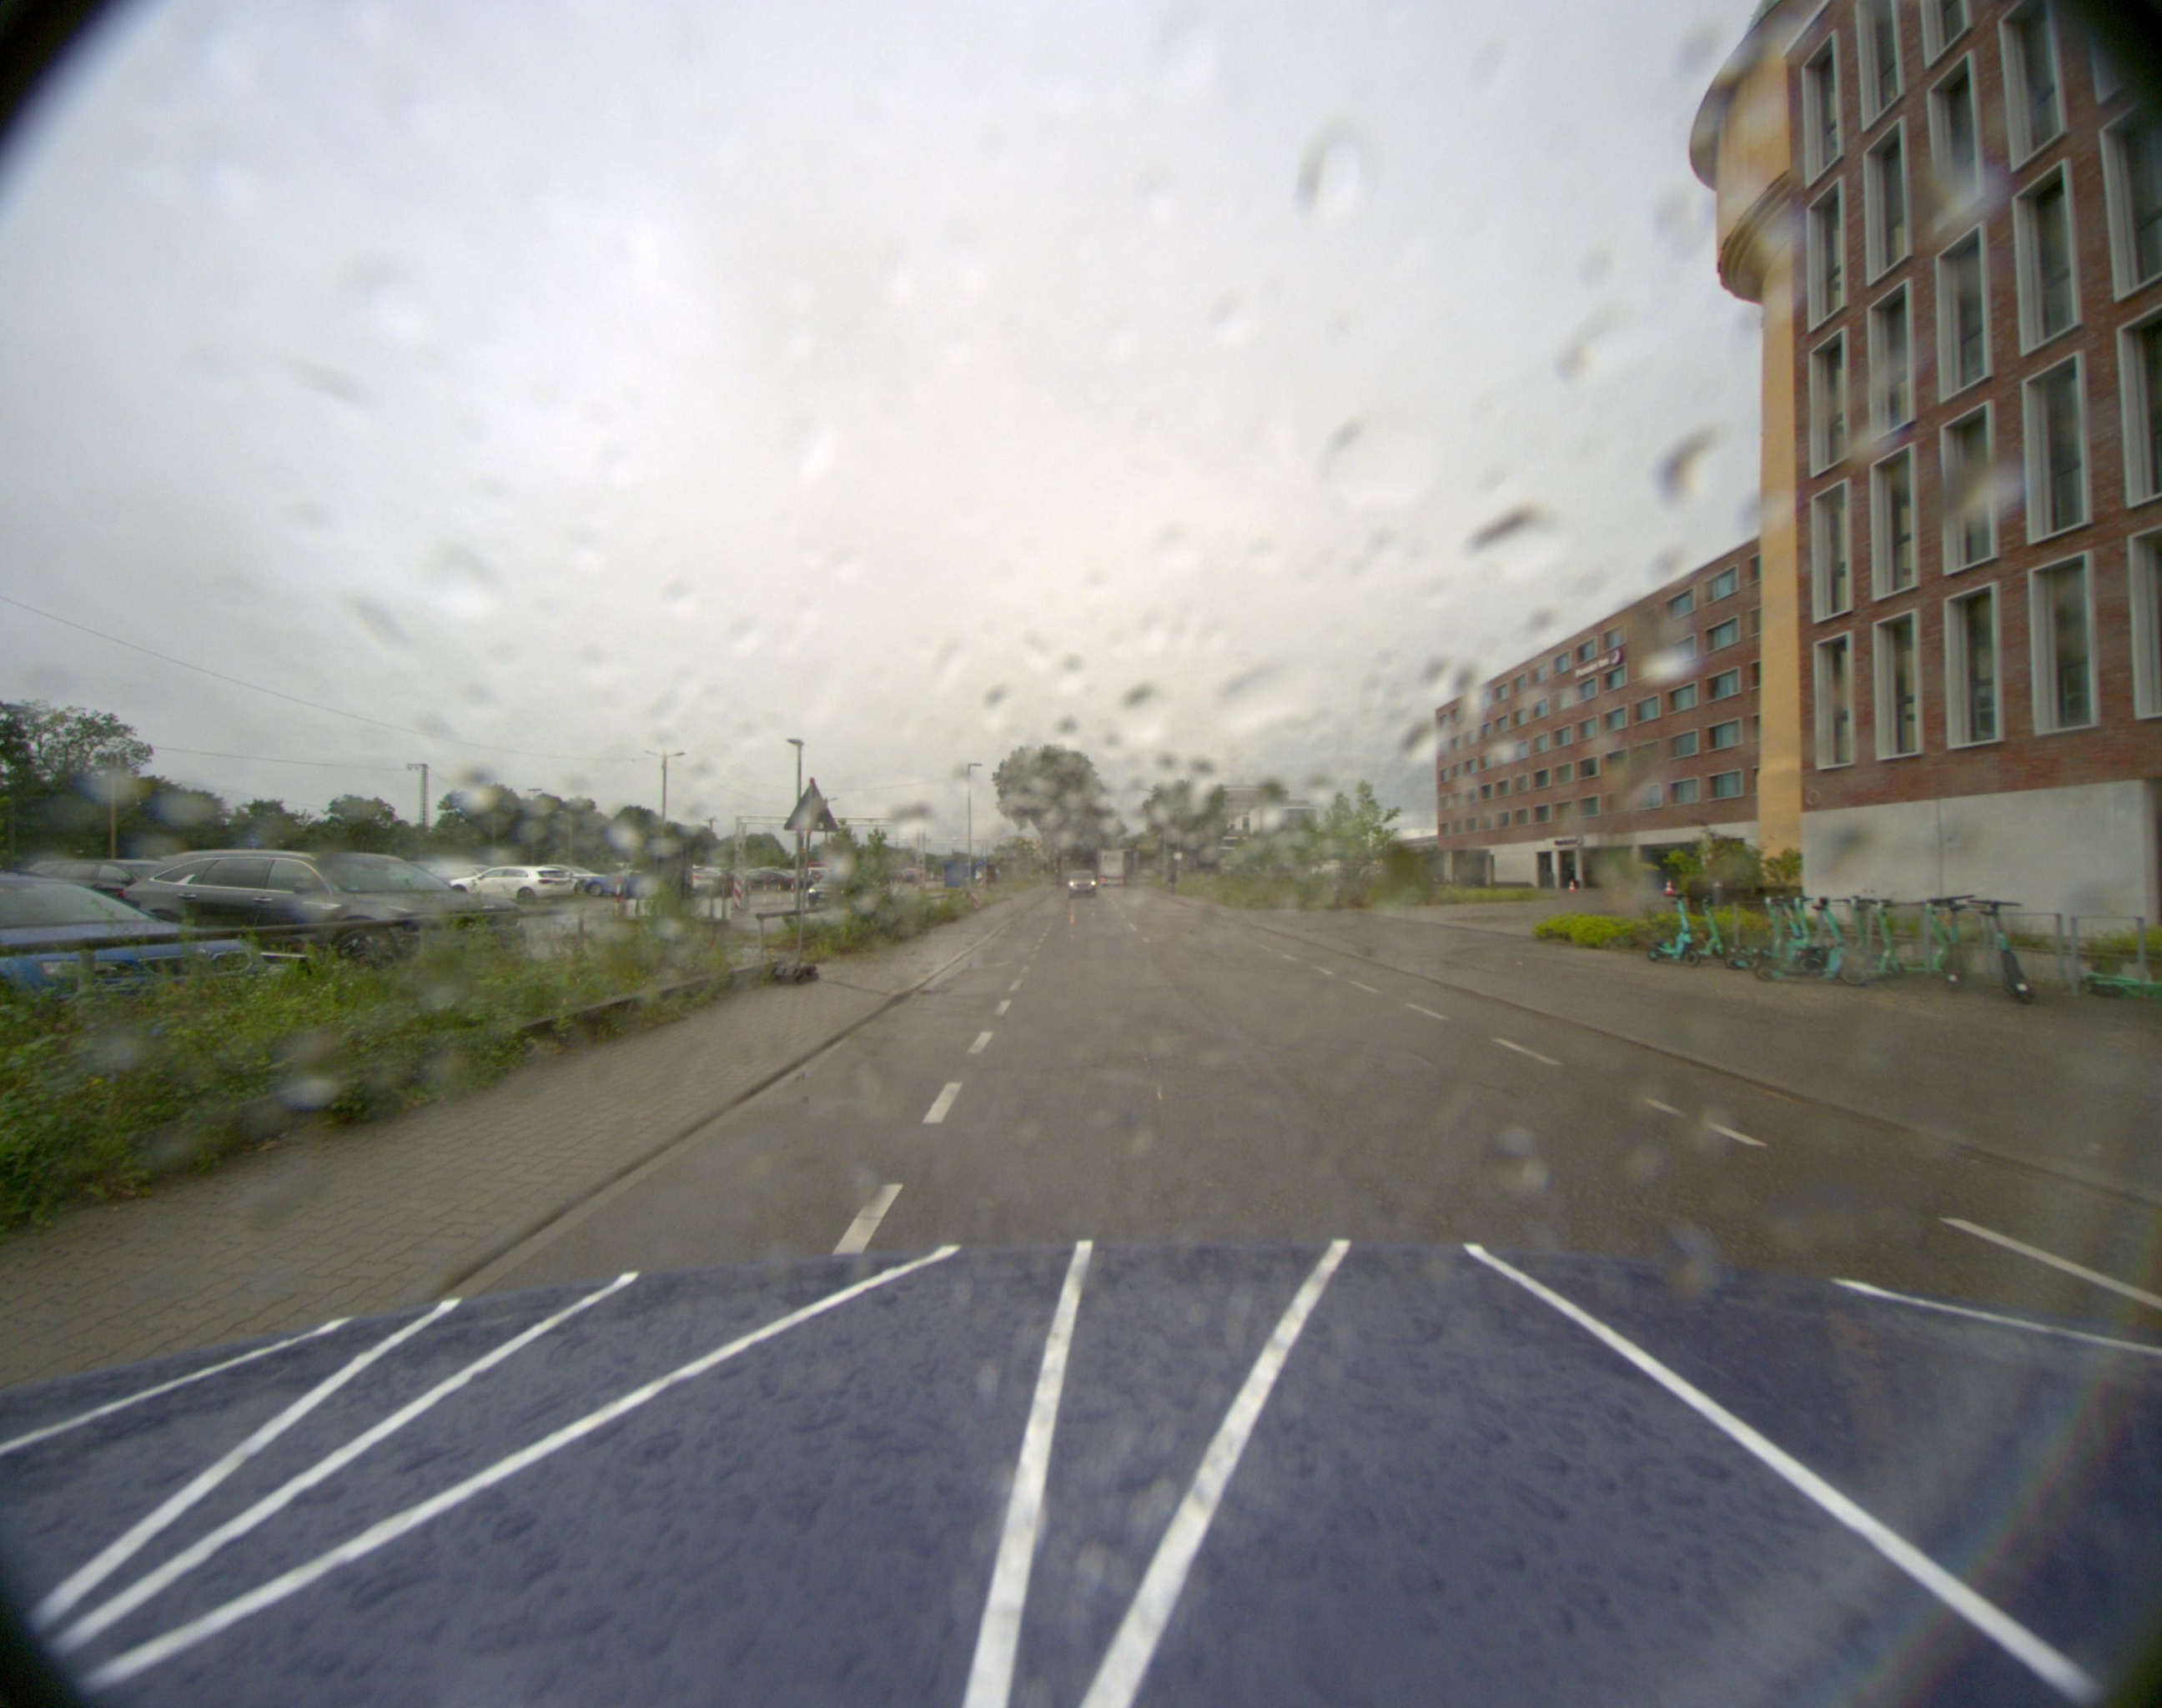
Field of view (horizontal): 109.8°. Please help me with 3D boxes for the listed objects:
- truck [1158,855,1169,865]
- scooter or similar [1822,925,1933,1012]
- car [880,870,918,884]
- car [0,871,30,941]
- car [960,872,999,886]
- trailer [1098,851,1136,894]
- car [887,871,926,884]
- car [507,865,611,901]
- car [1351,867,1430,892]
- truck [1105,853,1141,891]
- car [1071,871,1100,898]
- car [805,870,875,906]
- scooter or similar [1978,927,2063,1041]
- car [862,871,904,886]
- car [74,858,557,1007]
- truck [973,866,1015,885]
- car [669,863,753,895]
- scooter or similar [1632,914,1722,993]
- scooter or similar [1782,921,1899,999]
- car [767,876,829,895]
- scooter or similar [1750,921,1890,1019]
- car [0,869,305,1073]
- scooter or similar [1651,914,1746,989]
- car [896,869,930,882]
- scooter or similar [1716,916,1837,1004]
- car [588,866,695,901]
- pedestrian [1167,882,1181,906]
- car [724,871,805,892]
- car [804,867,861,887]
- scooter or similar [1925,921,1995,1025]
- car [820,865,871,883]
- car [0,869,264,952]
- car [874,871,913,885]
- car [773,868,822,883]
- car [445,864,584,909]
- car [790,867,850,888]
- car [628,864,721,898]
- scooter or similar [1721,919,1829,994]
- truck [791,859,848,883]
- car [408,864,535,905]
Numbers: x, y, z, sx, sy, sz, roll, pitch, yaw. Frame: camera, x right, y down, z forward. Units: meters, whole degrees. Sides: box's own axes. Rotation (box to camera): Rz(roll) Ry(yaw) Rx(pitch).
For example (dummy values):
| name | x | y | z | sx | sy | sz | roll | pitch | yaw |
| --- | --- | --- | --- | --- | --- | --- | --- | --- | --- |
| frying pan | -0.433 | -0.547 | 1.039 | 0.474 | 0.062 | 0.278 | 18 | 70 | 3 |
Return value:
| name | x | y | z | sx | sy | sz | roll | pitch | yaw |
| --- | --- | --- | --- | --- | --- | --- | --- | --- | --- |
| truck | 22.762 | 1.641 | 208.962 | 2.090 | 2.603 | 6.978 | 1 | -1 | -1 |
| scooter or similar | 11.416 | 1.621 | 10.902 | 1.321 | 1.170 | 0.467 | 1 | -1 | -11 |
| car | -21.256 | 2.677 | 88.978 | 3.961 | 1.419 | 1.822 | 2 | 0 | 2 |
| car | -27.538 | 1.120 | 17.157 | 4.714 | 1.596 | 2.044 | 2 | 0 | 0 |
| car | -10.361 | 2.529 | 78.033 | 3.781 | 1.385 | 1.905 | 0 | 0 | -2 |
| trailer | 4.356 | 2.148 | 88.227 | 3.300 | 4.625 | 13.744 | 0 | -1 | 7 |
| car | -21.060 | 2.831 | 91.765 | 4.075 | 1.481 | 1.926 | 2 | 0 | 2 |
| car | -27.118 | 1.499 | 39.586 | 4.071 | 1.649 | 1.832 | 2 | 0 | -1 |
| car | 20.733 | 1.725 | 51.012 | 4.533 | 1.631 | 2.000 | 0 | -1 | -2 |
| truck | 5.303 | 2.299 | 95.148 | 3.298 | 4.625 | 6.042 | 0 | -1 | 16 |
| car | 0.271 | 2.093 | 51.547 | 1.838 | 1.713 | 4.174 | 2 | -3 | 0 |
| car | -10.656 | 1.495 | 33.920 | 1.900 | 1.447 | 4.227 | 1 | -2 | -2 |
| scooter or similar | 11.227 | 1.514 | 9.107 | 0.466 | 1.200 | 1.211 | 0 | -2 | 43 |
| car | -21.012 | 2.602 | 80.742 | 3.961 | 1.419 | 1.887 | 2 | 0 | 2 |
| car | -10.227 | 0.958 | 10.424 | 4.691 | 1.725 | 2.129 | 1 | 0 | 5 |
| truck | -10.902 | 2.670 | 95.503 | 5.046 | 2.388 | 2.110 | 0 | -1 | -2 |
| car | -20.687 | 1.405 | 42.582 | 3.783 | 1.574 | 1.787 | 3 | 0 | 3 |
| scooter or similar | 10.195 | 1.677 | 13.051 | 0.467 | 1.222 | 1.321 | 1 | -2 | -3 |
| scooter or similar | 12.159 | 1.685 | 12.186 | 1.319 | 1.170 | 0.468 | 1 | -1 | 6 |
| car | -20.835 | 2.331 | 55.996 | 3.896 | 1.214 | 1.648 | 2 | 0 | 5 |
| scooter or similar | 10.224 | 1.574 | 10.557 | 1.317 | 1.222 | 0.468 | 0 | -2 | 30 |
| car | -9.832 | 0.908 | 6.621 | 4.306 | 1.508 | 1.820 | 0 | 0 | 1 |
| scooter or similar | 11.118 | 1.729 | 13.720 | 1.317 | 1.222 | 0.509 | 0 | -2 | 39 |
| car | -21.533 | 2.735 | 97.391 | 3.961 | 1.528 | 1.807 | 2 | 0 | 2 |
| scooter or similar | 10.862 | 1.624 | 11.903 | 0.468 | 1.222 | 1.318 | 2 | -2 | -28 |
| car | -21.294 | 1.401 | 36.939 | 4.054 | 1.475 | 1.928 | 3 | 0 | 3 |
| pedestrian | 6.923 | 2.953 | 56.320 | 0.911 | 1.707 | 1.027 | 0 | -1 | 1 |
| car | -21.253 | 1.814 | 51.145 | 4.599 | 1.214 | 1.978 | 2 | 0 | -1 |
| car | -20.092 | 1.839 | 61.560 | 3.961 | 1.481 | 1.870 | 2 | 0 | 2 |
| scooter or similar | 11.542 | 1.527 | 10.000 | 0.466 | 1.222 | 1.211 | 0 | -2 | 43 |
| car | -21.164 | 1.781 | 68.461 | 3.961 | 1.481 | 1.778 | 2 | 0 | 2 |
| car | -22.001 | 1.231 | 17.176 | 4.633 | 1.706 | 2.018 | 0 | 0 | -5 |
| car | -21.237 | 2.704 | 86.148 | 3.961 | 1.419 | 1.887 | 2 | 0 | 2 |
| car | -26.842 | 2.062 | 72.066 | 3.997 | 1.312 | 1.677 | 2 | -1 | 0 |
| car | -21.559 | 1.213 | 29.012 | 3.838 | 1.475 | 1.928 | 3 | 0 | 3 |
| car | -20.203 | 1.793 | 58.983 | 3.961 | 1.481 | 1.870 | 2 | 0 | 2 |
| car | -21.311 | 1.384 | 39.913 | 3.911 | 1.574 | 1.787 | 3 | 0 | 3 |
| scooter or similar | 11.613 | 1.696 | 12.734 | 1.319 | 1.170 | 0.468 | 1 | -1 | 6 |
| truck | -27.815 | 1.818 | 80.951 | 5.302 | 2.353 | 2.153 | 1 | -1 | 0 |
| car | -27.025 | 1.336 | 33.774 | 4.070 | 1.596 | 1.927 | 2 | 0 | 1 |
